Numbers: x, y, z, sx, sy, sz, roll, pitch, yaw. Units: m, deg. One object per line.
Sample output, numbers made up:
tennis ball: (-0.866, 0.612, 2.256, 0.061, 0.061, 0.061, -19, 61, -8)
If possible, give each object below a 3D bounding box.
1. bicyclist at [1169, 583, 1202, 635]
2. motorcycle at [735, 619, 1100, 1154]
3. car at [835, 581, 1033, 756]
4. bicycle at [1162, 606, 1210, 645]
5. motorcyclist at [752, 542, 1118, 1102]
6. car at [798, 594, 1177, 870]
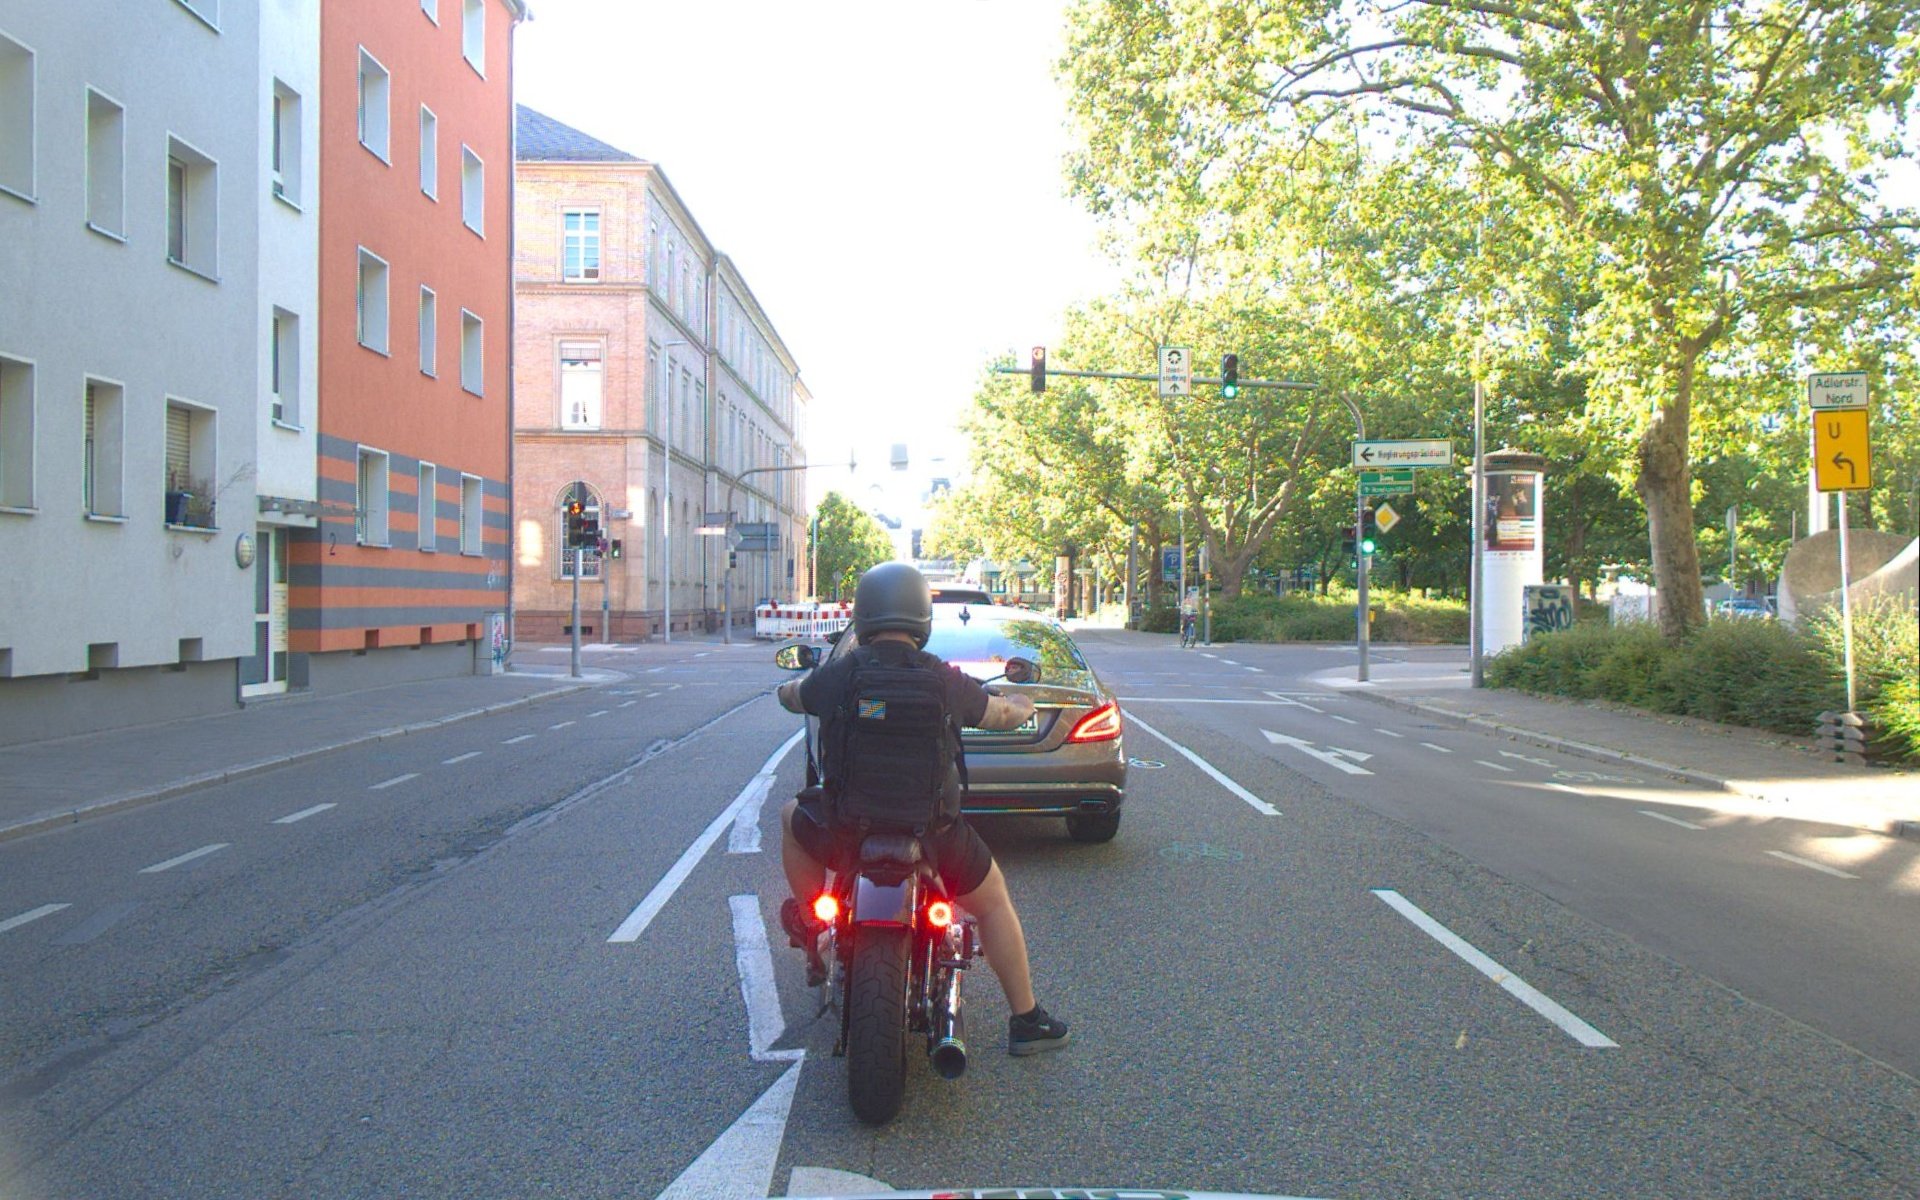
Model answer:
bicyclist: (7.166, 0.289, 52.567, 0.704, 1.610, 0.932, 1, -1, -15)
motorcycle: (-0.127, 0.772, 5.532, 0.942, 1.380, 2.319, 1, 0, -1)
car: (-0.343, 0.606, 16.762, 1.777, 1.563, 3.846, 0, 0, -3)
bicycle: (7.168, 0.805, 52.525, 0.704, 1.193, 2.167, 1, 0, -15)
motorcyclist: (-0.077, 0.648, 5.263, 1.039, 1.610, 0.908, 1, 0, -1)
car: (-0.043, 0.698, 11.080, 1.867, 1.466, 4.280, 0, 0, -9)
